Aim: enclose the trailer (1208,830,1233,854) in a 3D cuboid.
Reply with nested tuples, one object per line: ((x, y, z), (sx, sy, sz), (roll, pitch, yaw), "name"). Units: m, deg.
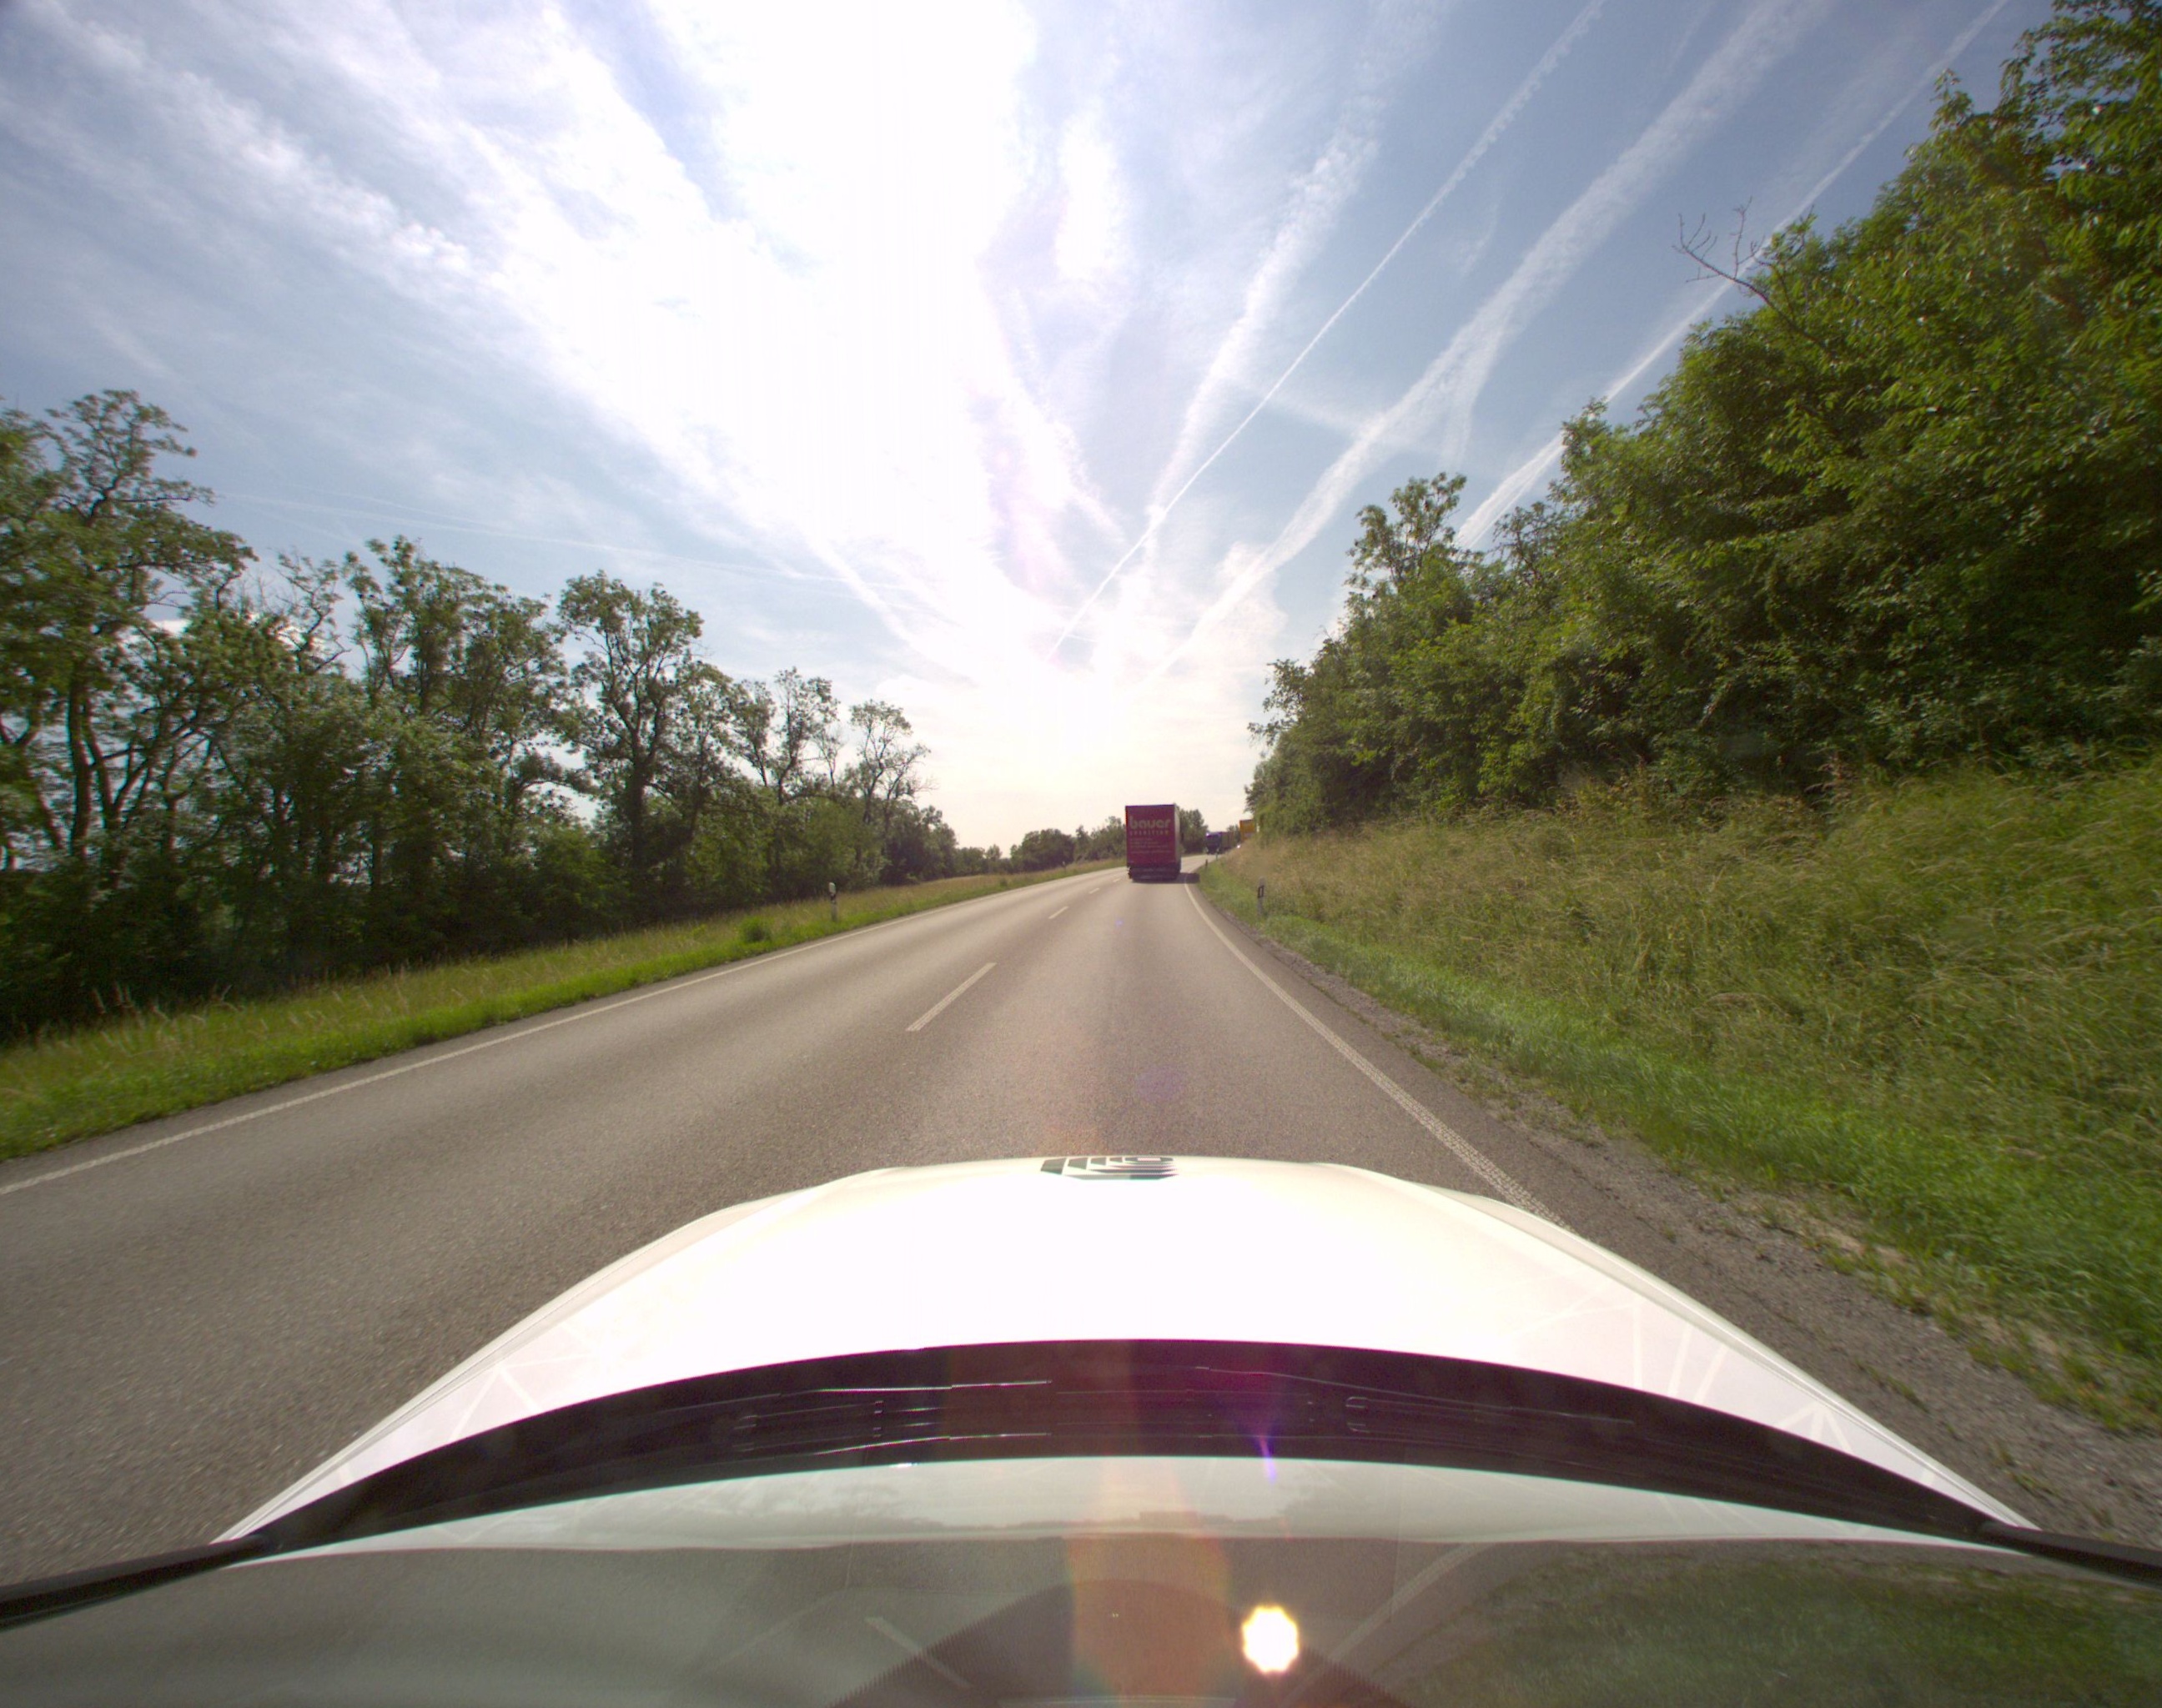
((26.011, -2.163, 151.438), (2.974, 4.043, 12.974), (-2, 0, 17), "trailer")

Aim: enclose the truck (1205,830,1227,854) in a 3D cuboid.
((23.947, -2.100, 144.397), (2.784, 4.067, 6.013), (-2, 0, 18), "truck")

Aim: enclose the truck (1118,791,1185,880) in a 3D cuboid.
((4.356, -1.019, 47.471), (3.094, 4.505, 12.197), (0, 1, 8), "truck")
